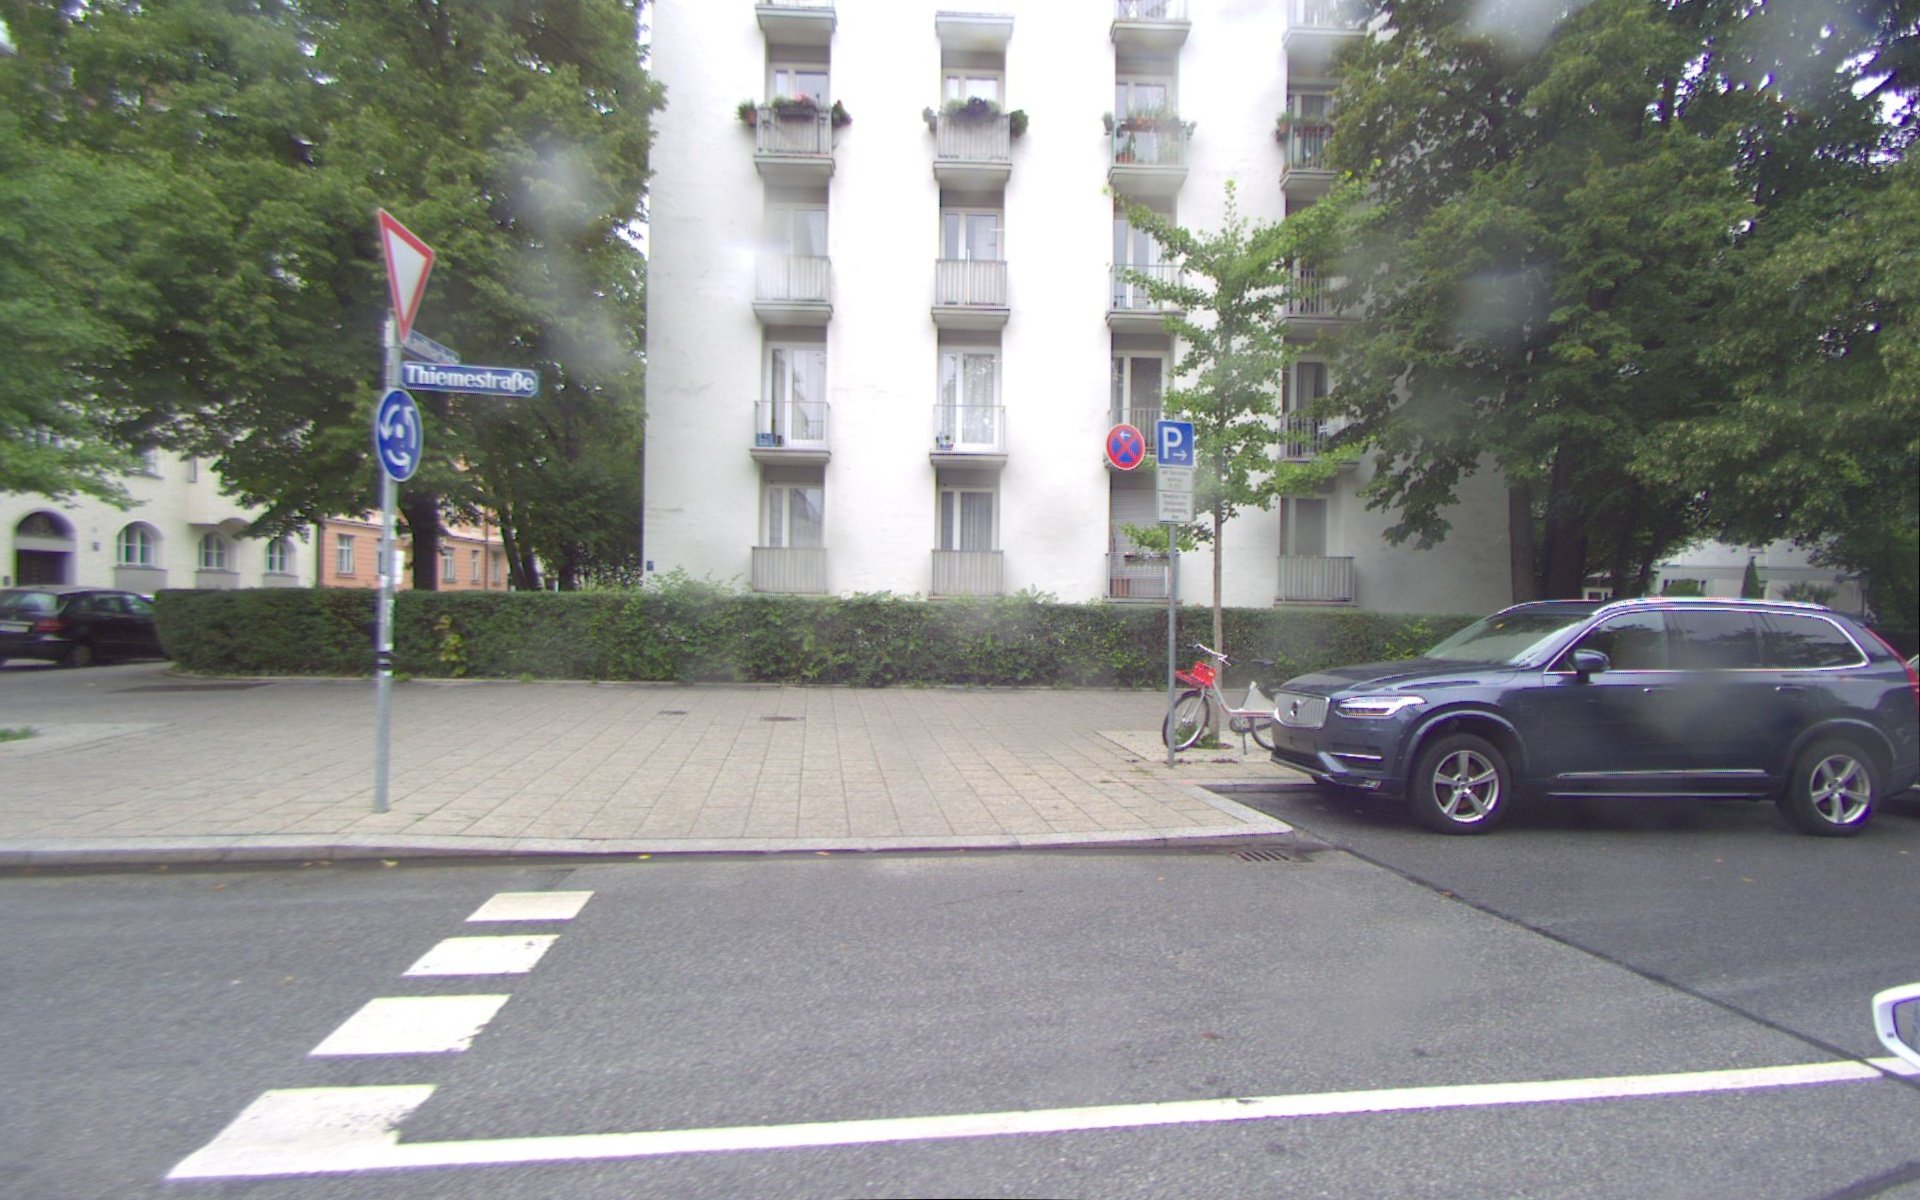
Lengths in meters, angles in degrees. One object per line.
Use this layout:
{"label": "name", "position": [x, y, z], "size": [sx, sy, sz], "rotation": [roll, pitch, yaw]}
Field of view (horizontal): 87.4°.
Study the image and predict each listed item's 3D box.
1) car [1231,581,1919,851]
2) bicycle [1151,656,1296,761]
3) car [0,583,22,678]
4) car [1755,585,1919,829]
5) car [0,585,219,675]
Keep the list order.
{"label": "car", "position": [4.959, 0.870, 8.106], "size": [4.964, 1.791, 1.884], "rotation": [2, -1, -6]}
{"label": "bicycle", "position": [2.741, 1.125, 10.462], "size": [1.397, 1.027, 0.466], "rotation": [2, 0, -17]}
{"label": "car", "position": [-16.914, 0.488, 15.373], "size": [1.561, 1.611, 4.096], "rotation": [0, -1, -6]}
{"label": "car", "position": [10.024, 0.913, 8.875], "size": [4.741, 1.962, 1.885], "rotation": [1, -1, -6]}
{"label": "car", "position": [-17.485, 0.580, 20.578], "size": [1.560, 1.611, 4.100], "rotation": [2, -1, -1]}
